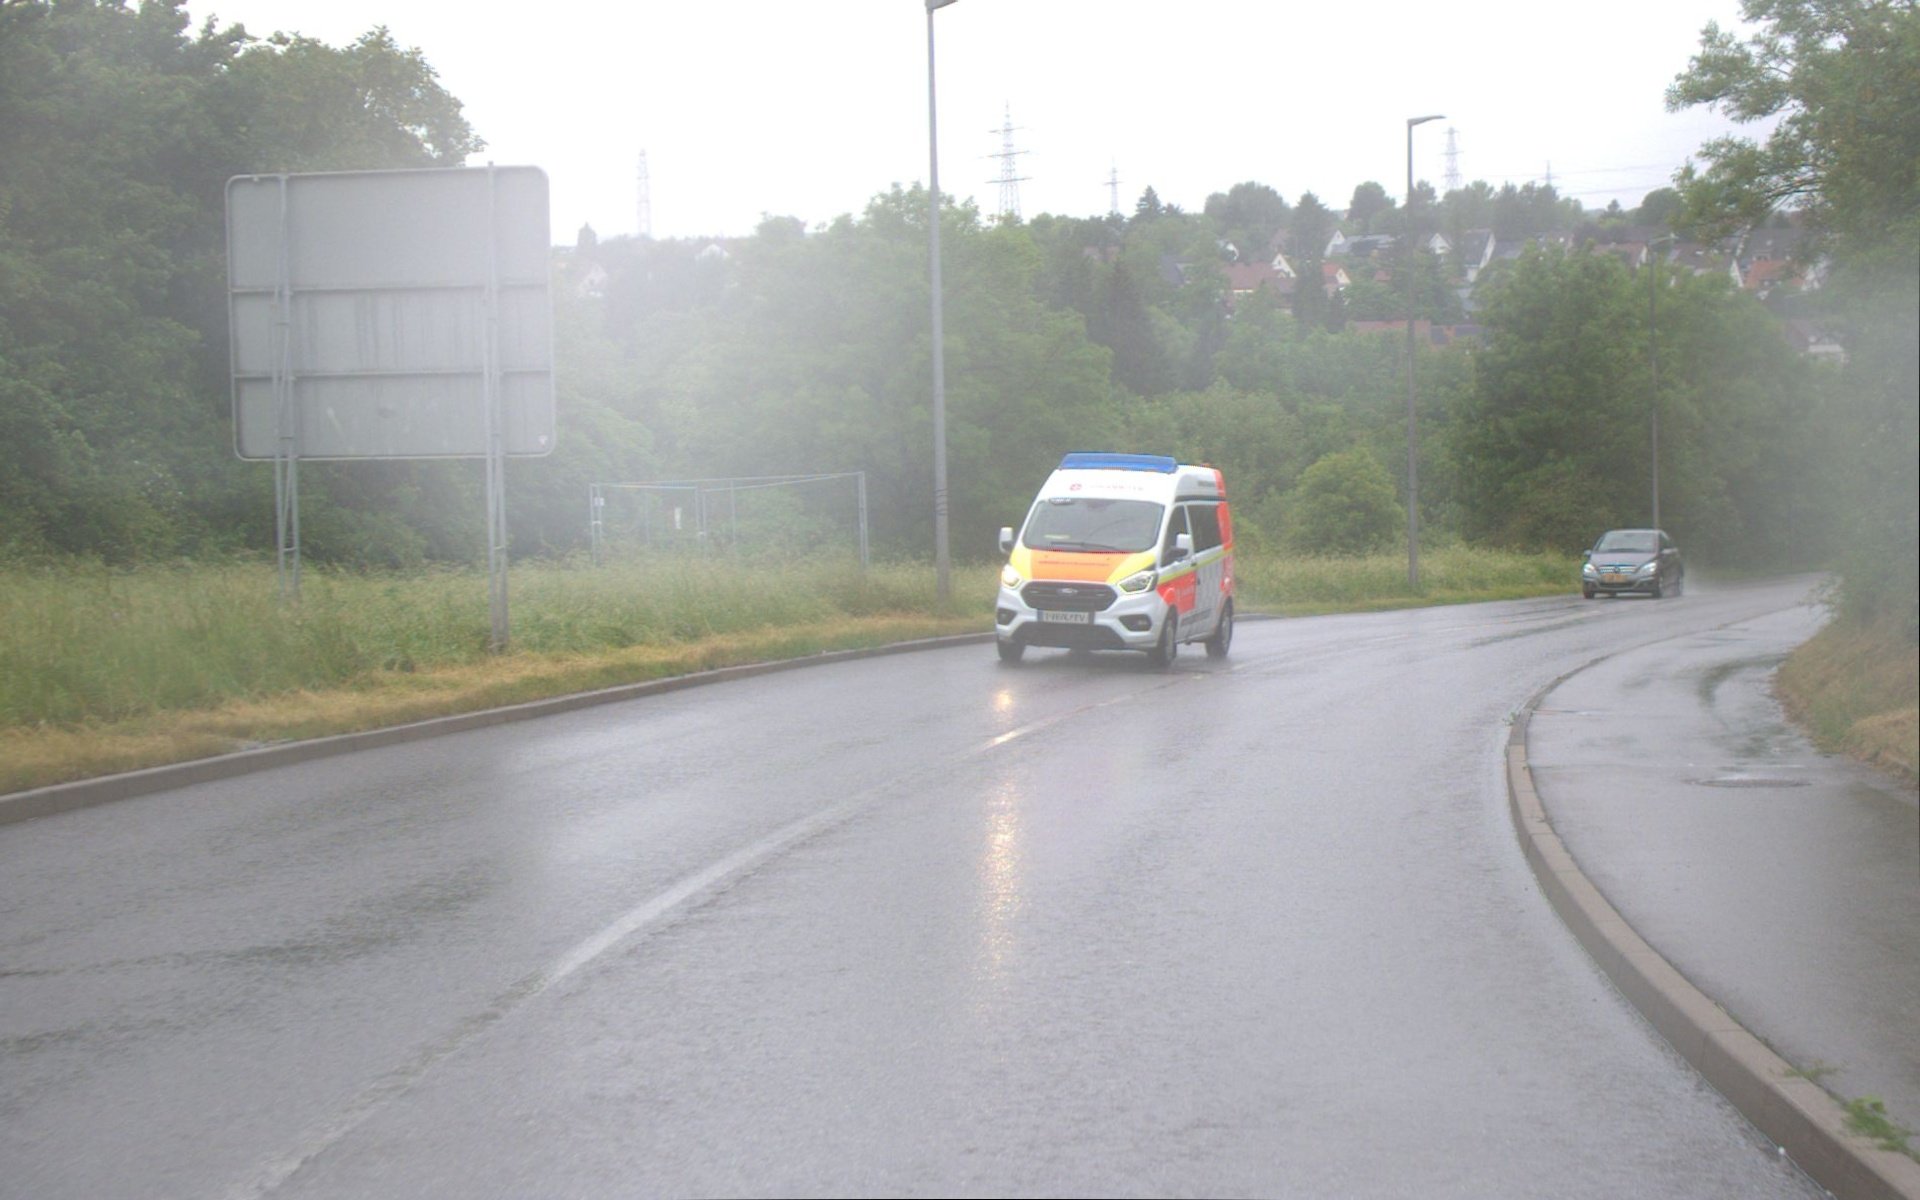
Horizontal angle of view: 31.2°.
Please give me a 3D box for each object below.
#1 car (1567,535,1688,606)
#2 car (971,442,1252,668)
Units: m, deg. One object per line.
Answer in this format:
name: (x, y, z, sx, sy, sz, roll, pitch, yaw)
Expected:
car: (15.481, -0.704, 79.604, 1.866, 1.546, 4.261, 2, 2, 23)
car: (1.870, -0.534, 40.263, 2.046, 2.409, 5.451, 2, 1, 15)
